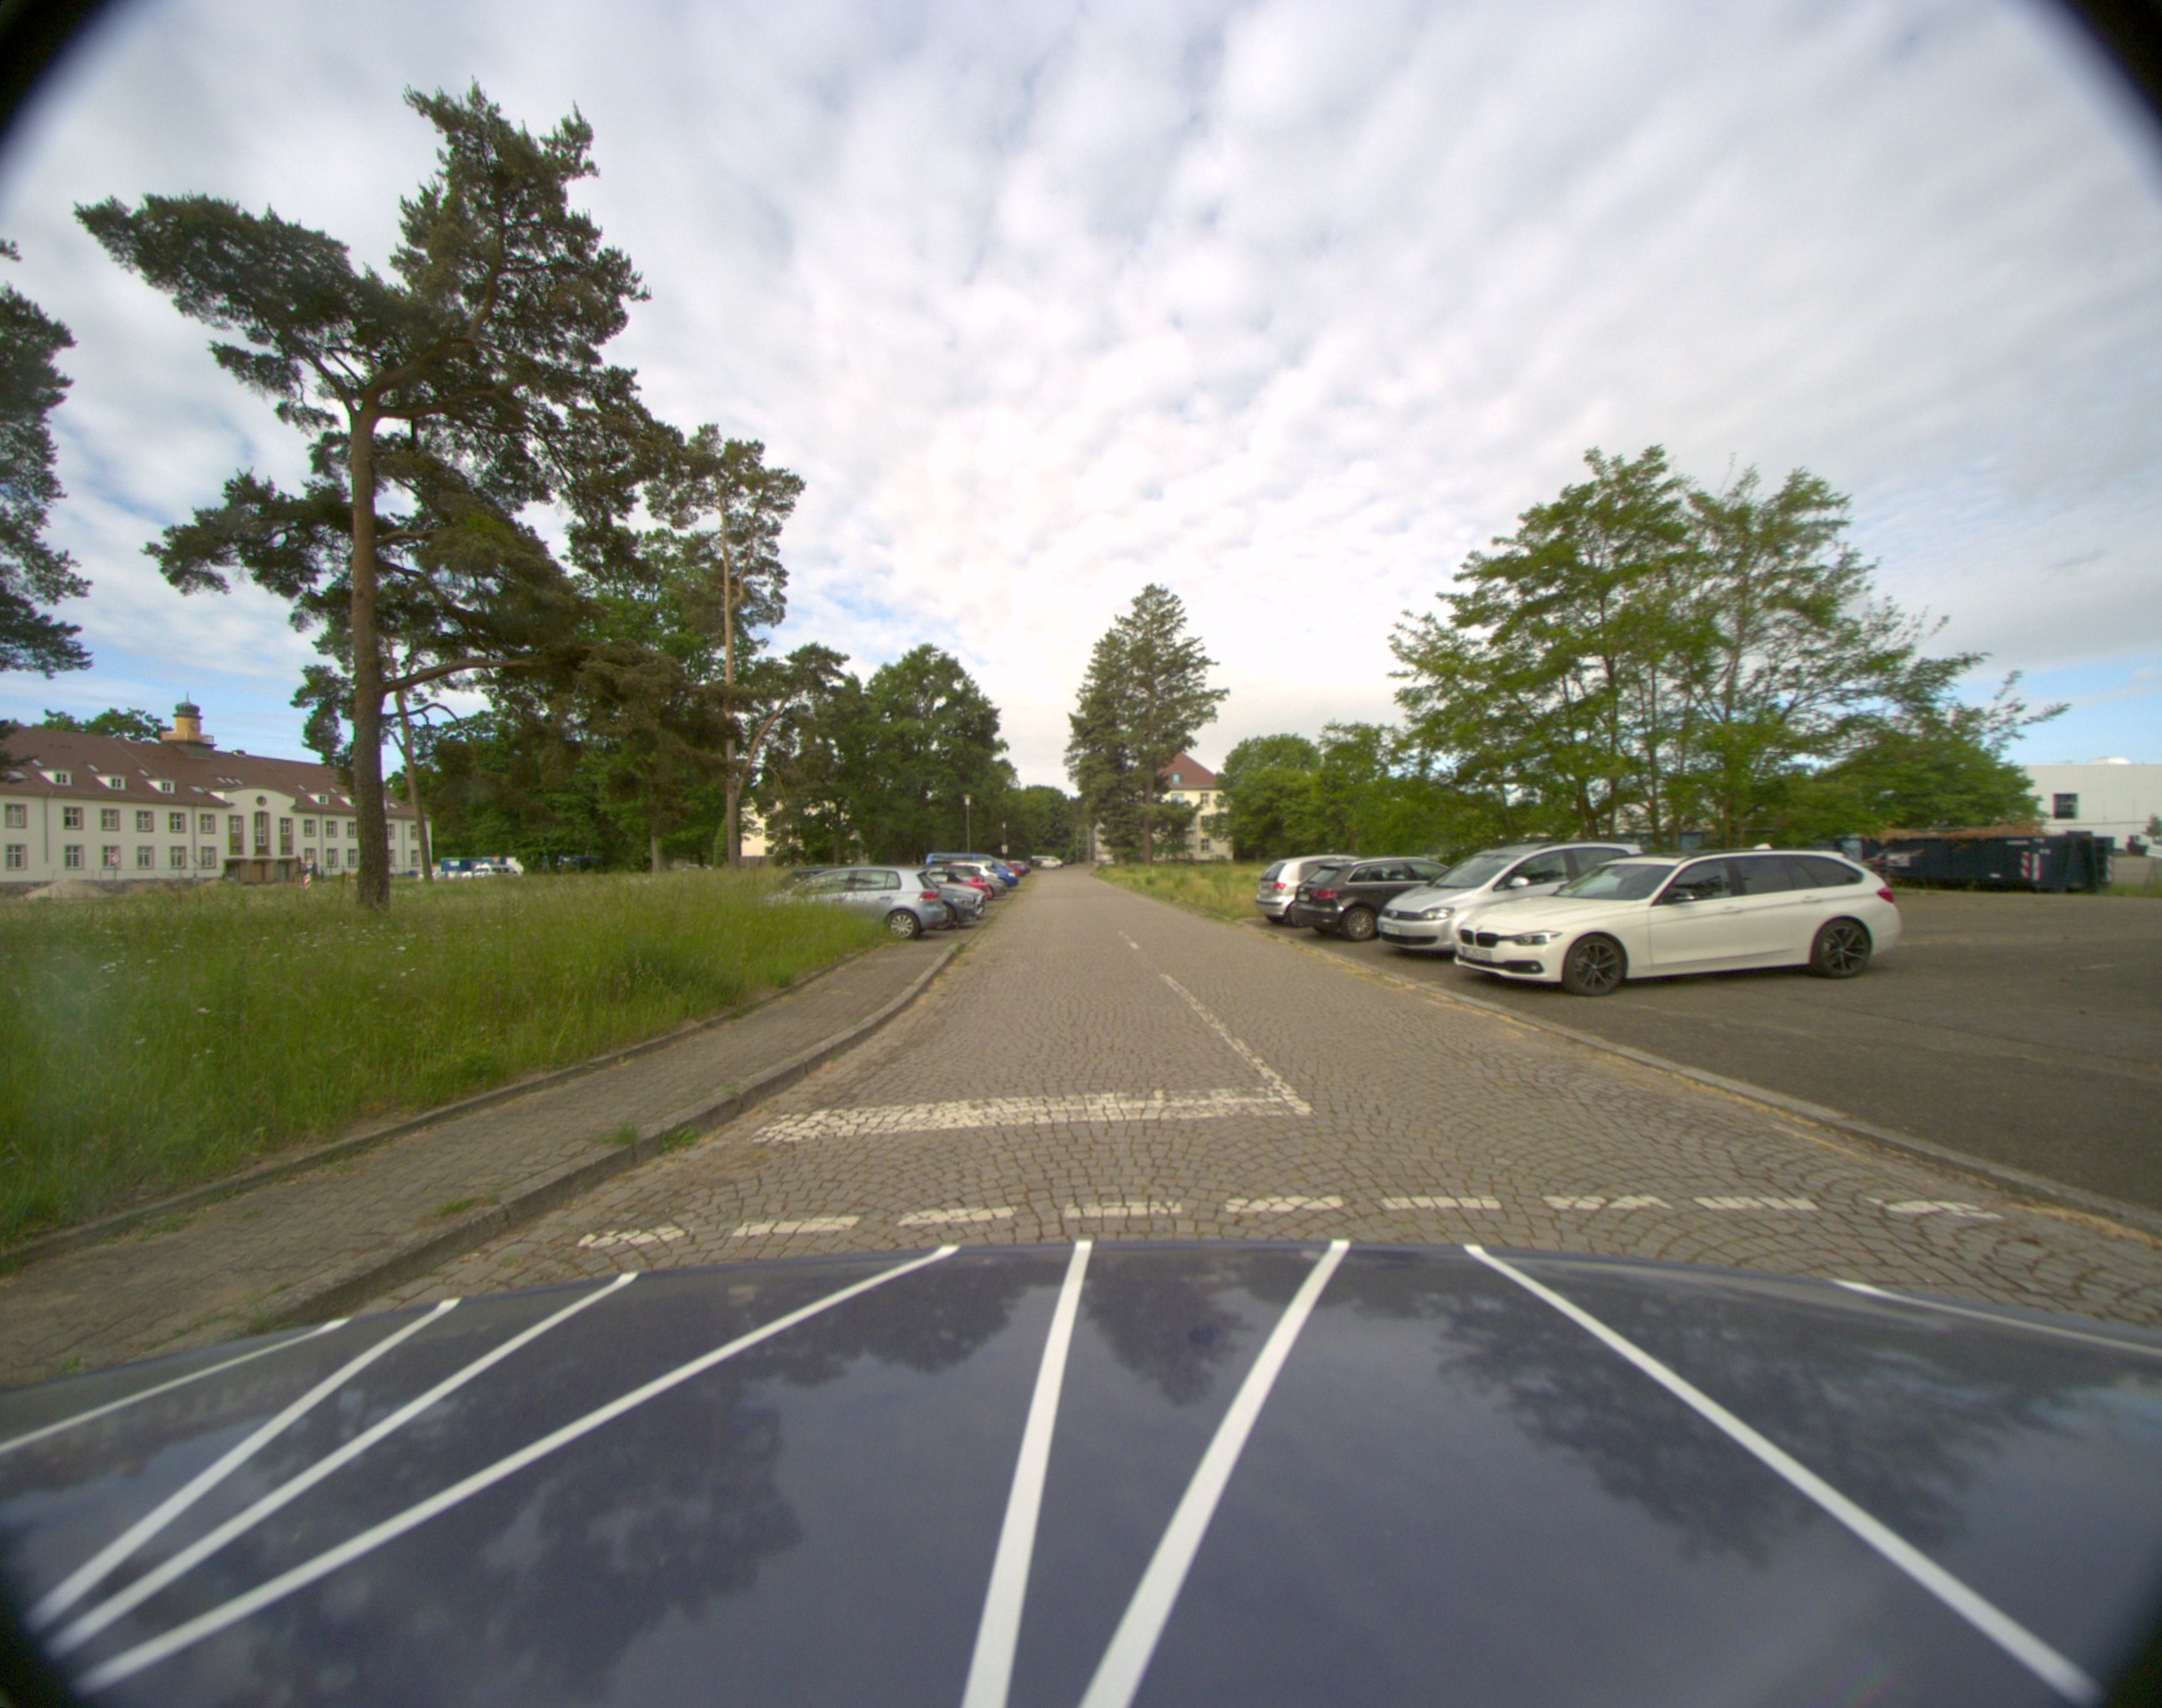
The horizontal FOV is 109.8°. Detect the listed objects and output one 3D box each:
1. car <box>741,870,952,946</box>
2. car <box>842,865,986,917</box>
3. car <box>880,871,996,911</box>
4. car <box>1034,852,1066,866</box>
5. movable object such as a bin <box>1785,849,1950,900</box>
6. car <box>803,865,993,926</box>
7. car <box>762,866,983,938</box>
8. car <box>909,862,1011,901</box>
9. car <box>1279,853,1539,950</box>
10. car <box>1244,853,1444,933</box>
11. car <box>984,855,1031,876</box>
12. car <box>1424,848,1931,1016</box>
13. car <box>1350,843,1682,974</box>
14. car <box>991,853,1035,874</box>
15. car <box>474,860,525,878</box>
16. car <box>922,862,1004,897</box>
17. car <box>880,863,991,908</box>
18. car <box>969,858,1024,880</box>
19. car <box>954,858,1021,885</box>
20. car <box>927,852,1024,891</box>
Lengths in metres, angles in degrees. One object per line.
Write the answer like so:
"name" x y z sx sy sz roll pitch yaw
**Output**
"car" -4.592 1.042 15.298 3.774 1.418 1.605 0 0 -3
"car" -4.985 1.093 23.070 3.972 1.443 1.799 -1 0 -2
"car" -4.710 1.215 25.358 3.600 1.200 1.494 -1 0 -1
"car" -4.976 0.752 122.021 5.031 2.164 2.000 -1 0 0
"movable object such as a bin" 18.952 0.469 18.394 2.397 1.154 1.500 -1 0 3
"car" -4.893 1.094 20.810 4.770 1.474 1.812 -1 0 -2
"car" -4.761 1.082 17.944 4.771 1.474 1.761 -1 0 -5
"car" -4.864 1.101 30.942 3.849 1.448 1.820 -1 0 0
"car" 5.934 0.813 14.034 3.998 1.419 1.750 -3 1 -3
"car" 5.712 0.806 16.777 3.689 1.444 1.807 -4 0 -7
"car" -6.604 1.011 68.665 4.008 1.752 2.000 -1 0 -1
"car" 6.723 0.793 8.839 4.661 1.435 1.801 -3 0 -6
"car" 6.351 0.733 11.324 3.999 1.538 1.723 -3 1 -7
"car" -6.516 0.912 73.067 3.997 2.002 2.000 -1 0 -1
"car" -71.243 1.814 93.255 2.154 2.002 5.224 -1 0 1
"car" -5.193 1.105 33.755 3.409 1.443 1.637 -1 0 -1
"car" -5.291 1.134 28.036 3.787 1.497 1.798 -1 0 -4
"car" -6.474 1.146 58.416 3.998 1.521 2.000 -2 0 -2
"car" -5.884 1.061 48.101 3.998 1.601 2.000 -1 0 -2
"car" -5.377 0.868 39.174 4.750 1.927 1.999 0 0 -3
